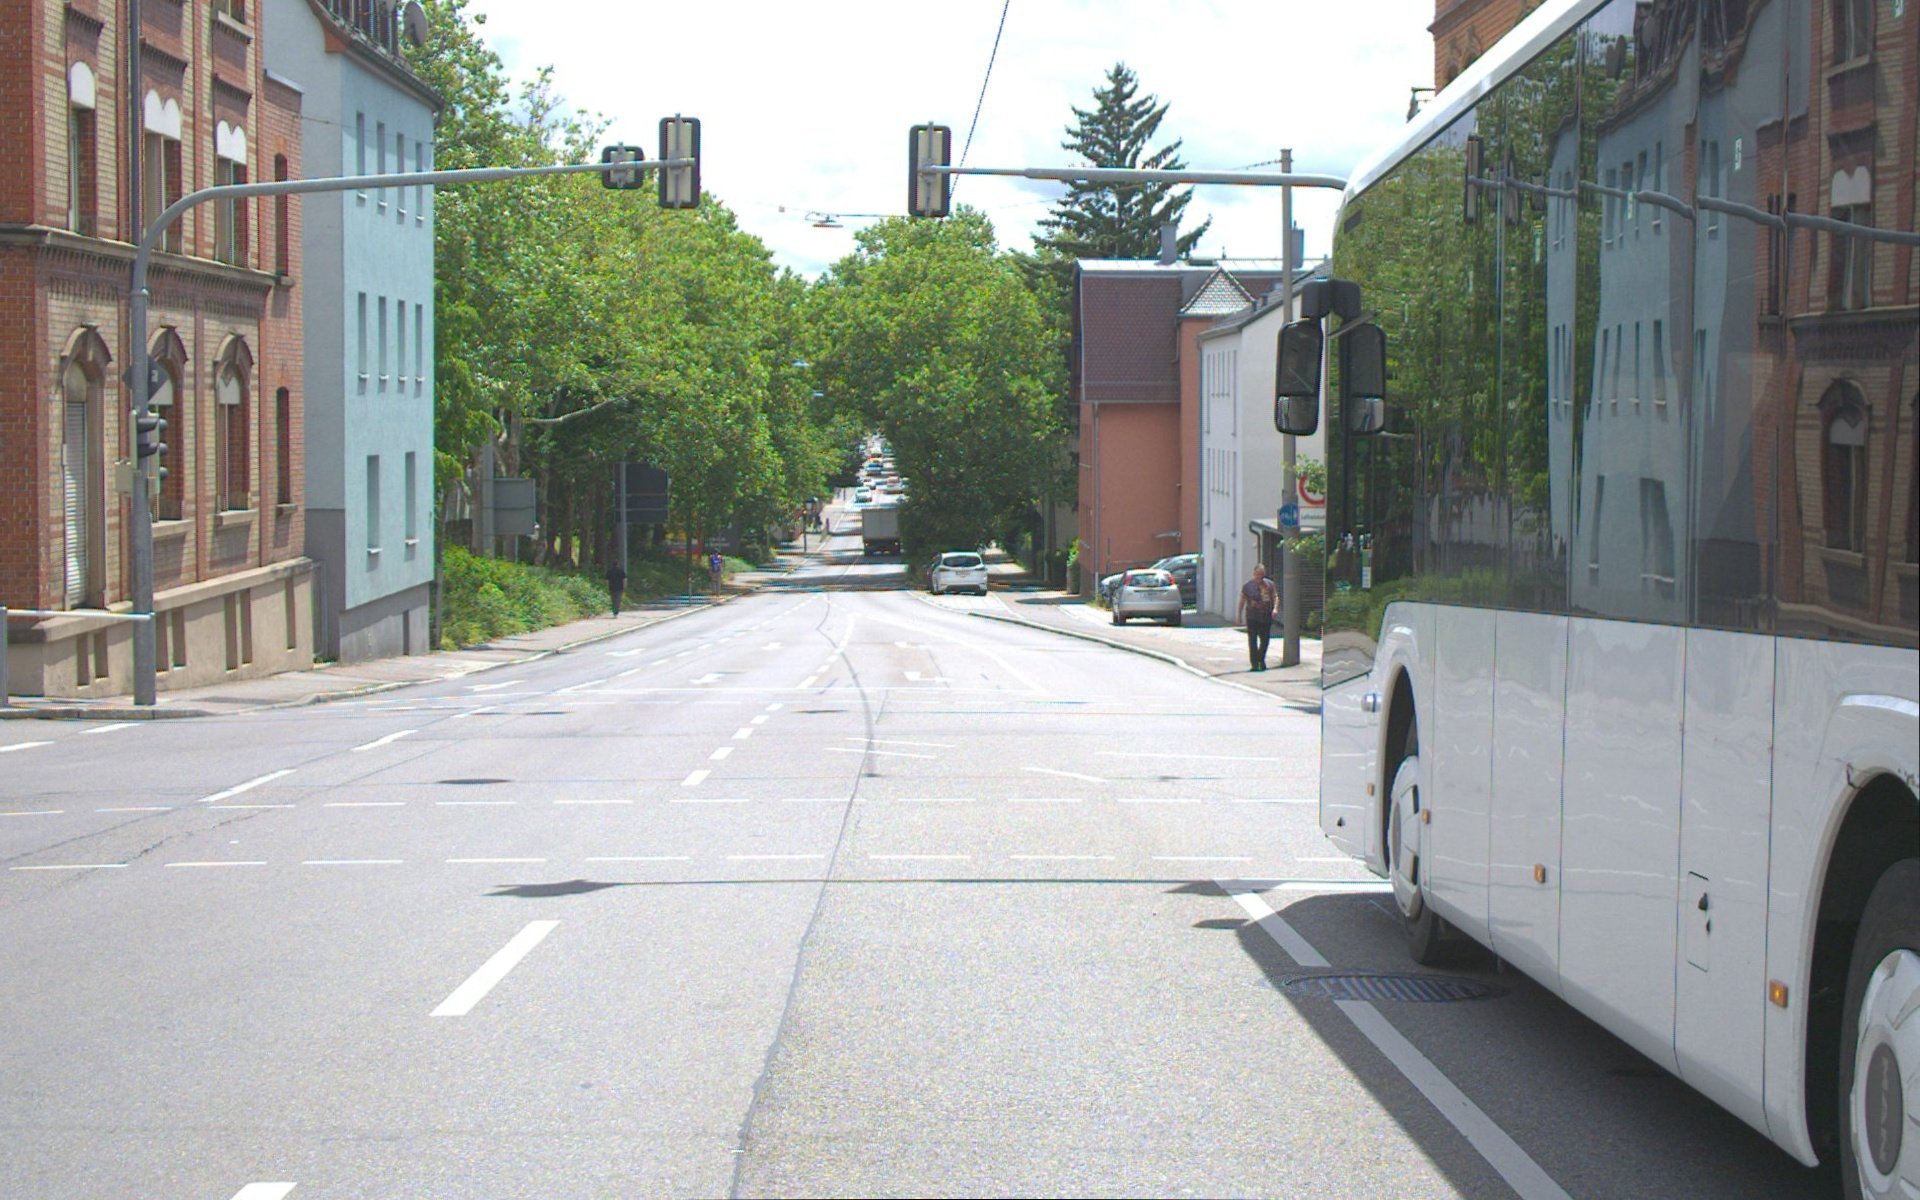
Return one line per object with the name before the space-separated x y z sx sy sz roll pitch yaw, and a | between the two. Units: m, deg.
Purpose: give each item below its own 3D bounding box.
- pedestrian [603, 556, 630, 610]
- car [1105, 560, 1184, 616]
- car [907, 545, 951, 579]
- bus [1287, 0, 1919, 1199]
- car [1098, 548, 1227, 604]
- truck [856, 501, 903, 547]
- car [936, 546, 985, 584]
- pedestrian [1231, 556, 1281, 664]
pedestrian | -9.863 -0.490 98.802 0.729 1.560 0.561 0 1 -1
car | 4.974 -0.343 93.075 1.794 1.405 4.001 -1 1 -2
car | -1.301 -1.604 145.829 1.794 1.405 4.419 1 1 0
bus | 2.868 -0.249 9.321 2.672 3.145 12.462 0 1 0
car | 6.648 -0.795 113.174 3.986 1.751 2.000 -1 1 -5
truck | -5.568 -5.221 236.523 2.926 3.070 7.886 -1 1 -3
car | 0.015 -1.323 129.437 1.794 1.405 4.000 1 1 0
pedestrian | 4.879 0.161 56.675 0.738 1.744 0.619 -1 1 -1
